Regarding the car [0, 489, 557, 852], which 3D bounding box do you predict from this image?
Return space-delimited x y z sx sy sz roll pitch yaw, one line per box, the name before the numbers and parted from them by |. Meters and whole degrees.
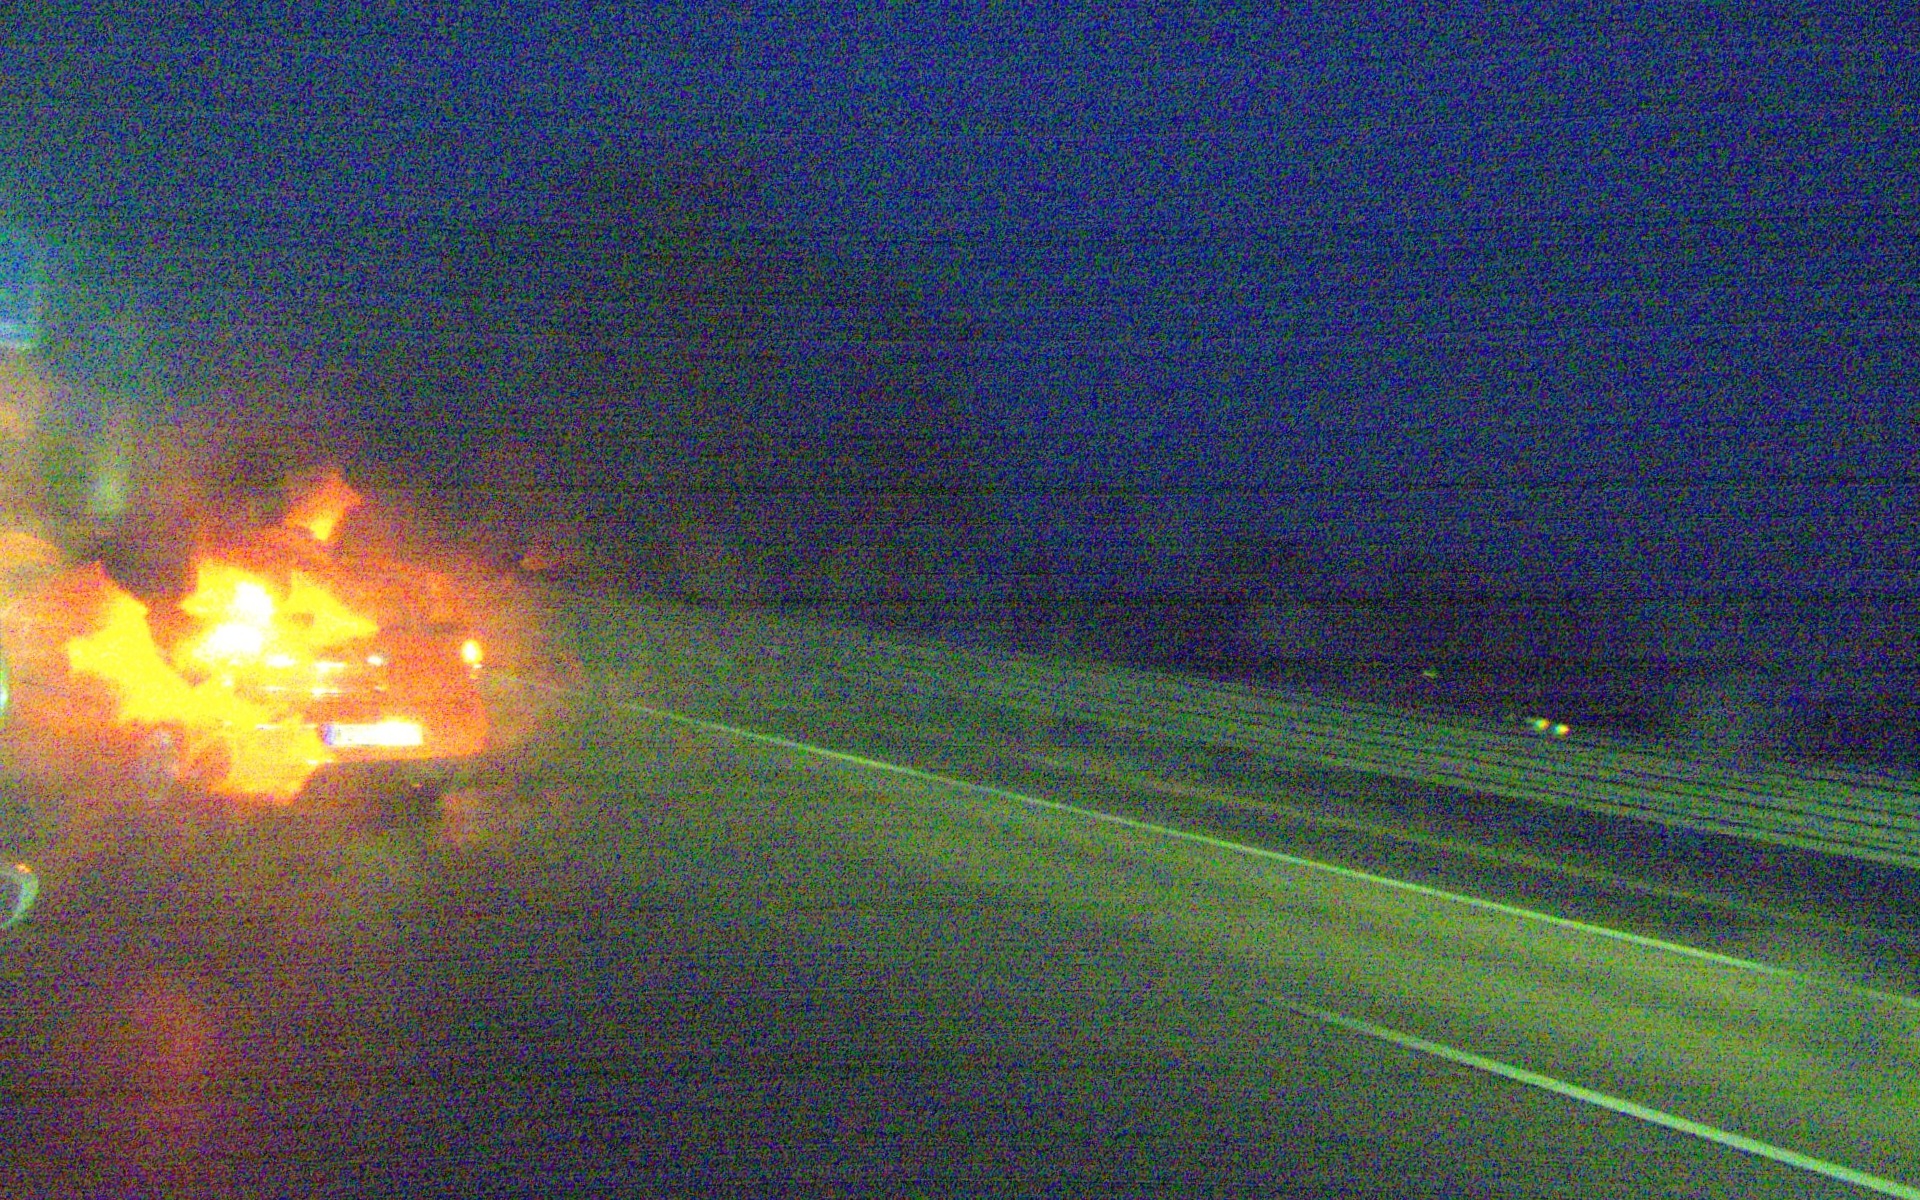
car | -4.860 0.255 6.546 4.419 1.594 1.743 6 -1 31
